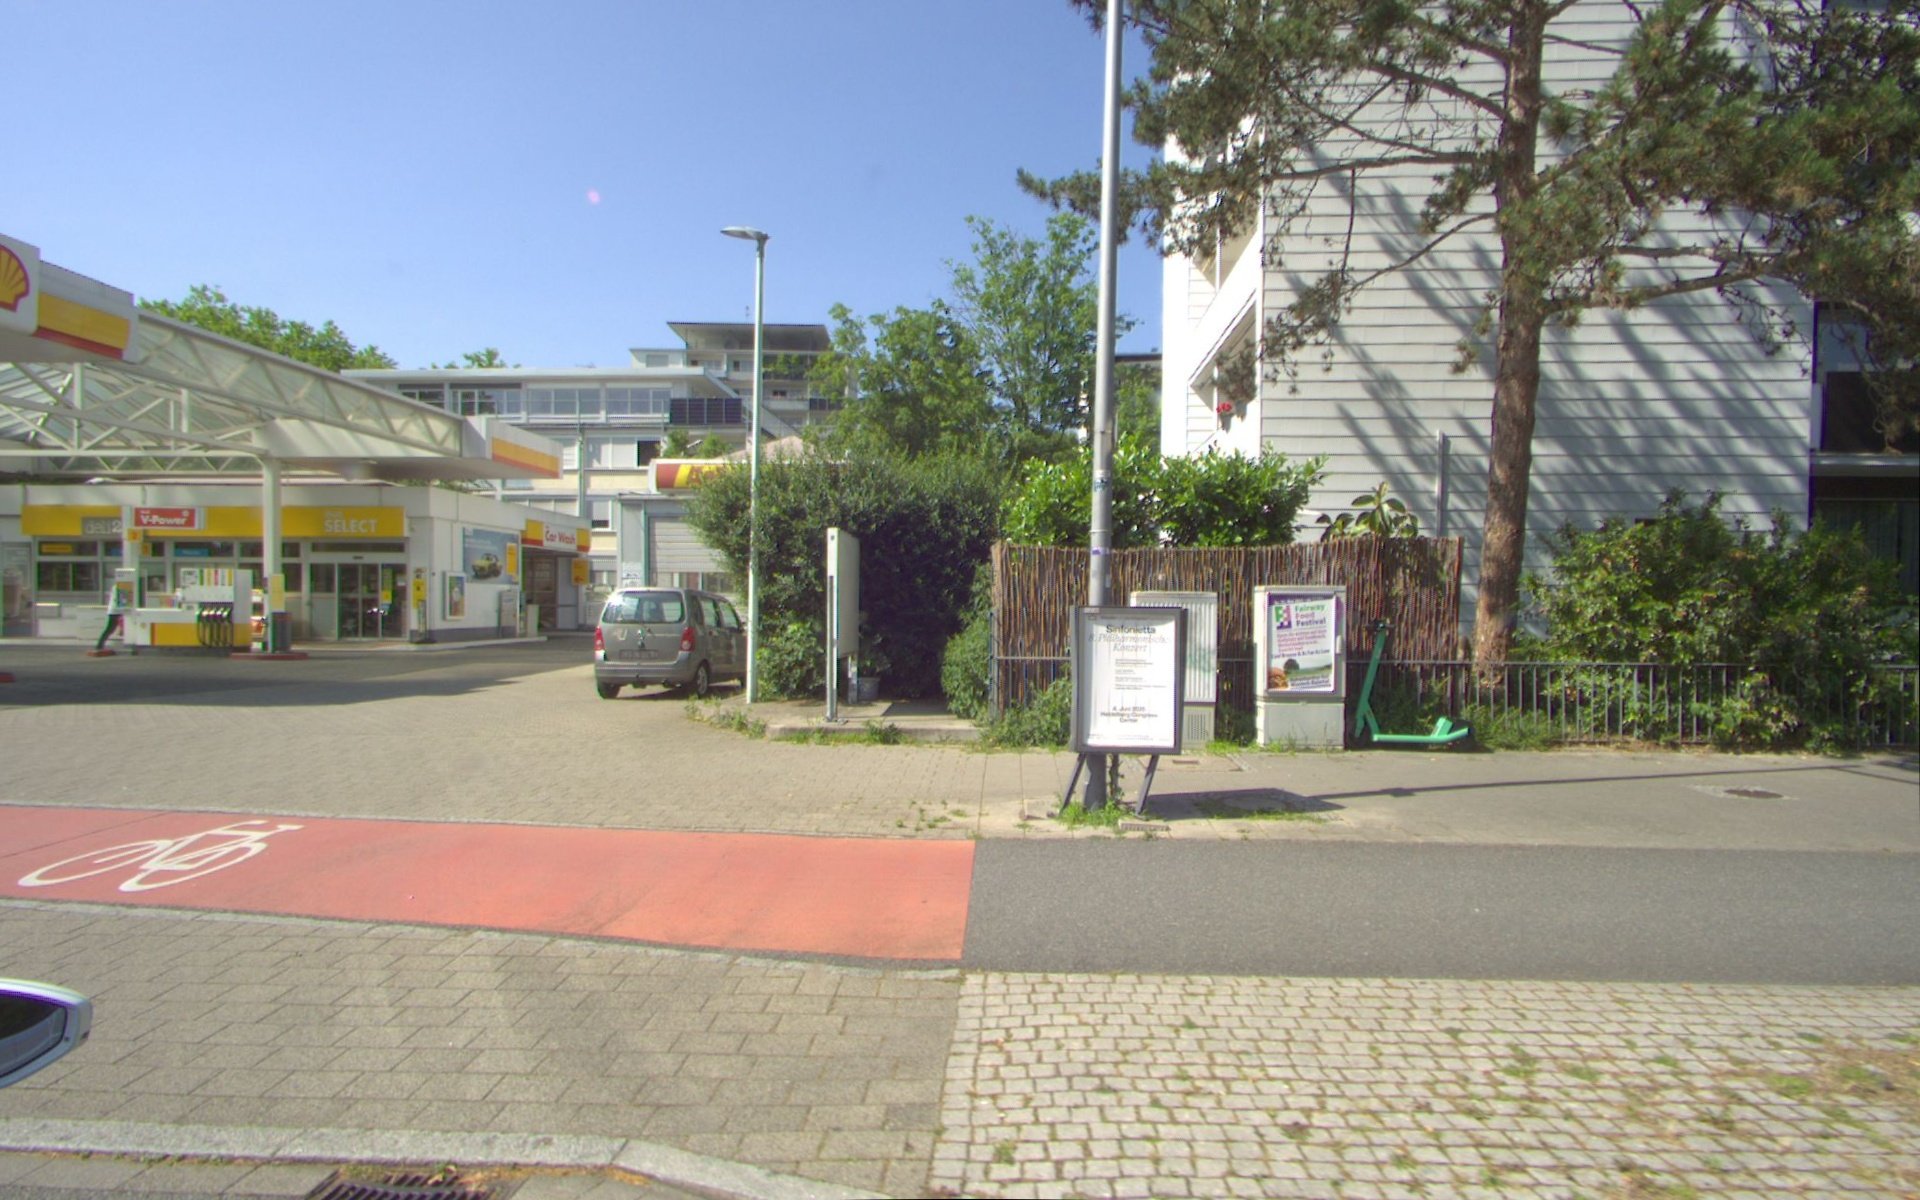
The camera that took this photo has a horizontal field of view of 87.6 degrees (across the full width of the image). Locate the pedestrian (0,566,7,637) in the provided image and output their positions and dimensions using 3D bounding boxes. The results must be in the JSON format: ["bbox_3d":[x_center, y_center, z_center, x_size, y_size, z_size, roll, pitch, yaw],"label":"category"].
[{"bbox_3d":[-25.352,0.038,25.973,0.619,1.846,0.675,1,0,10],"label":"pedestrian"}]

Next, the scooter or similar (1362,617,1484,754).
[{"bbox_3d":[4.120,0.745,8.932,0.939,1.181,0.231,1,0,11],"label":"scooter or similar"}]

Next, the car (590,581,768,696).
[{"bbox_3d":[-4.365,0.559,16.125,1.559,1.617,3.833,1,0,4],"label":"car"}]

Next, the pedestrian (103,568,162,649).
[{"bbox_3d":[-19.592,0.207,23.724,0.843,1.862,0.743,0,0,-18],"label":"pedestrian"}]
